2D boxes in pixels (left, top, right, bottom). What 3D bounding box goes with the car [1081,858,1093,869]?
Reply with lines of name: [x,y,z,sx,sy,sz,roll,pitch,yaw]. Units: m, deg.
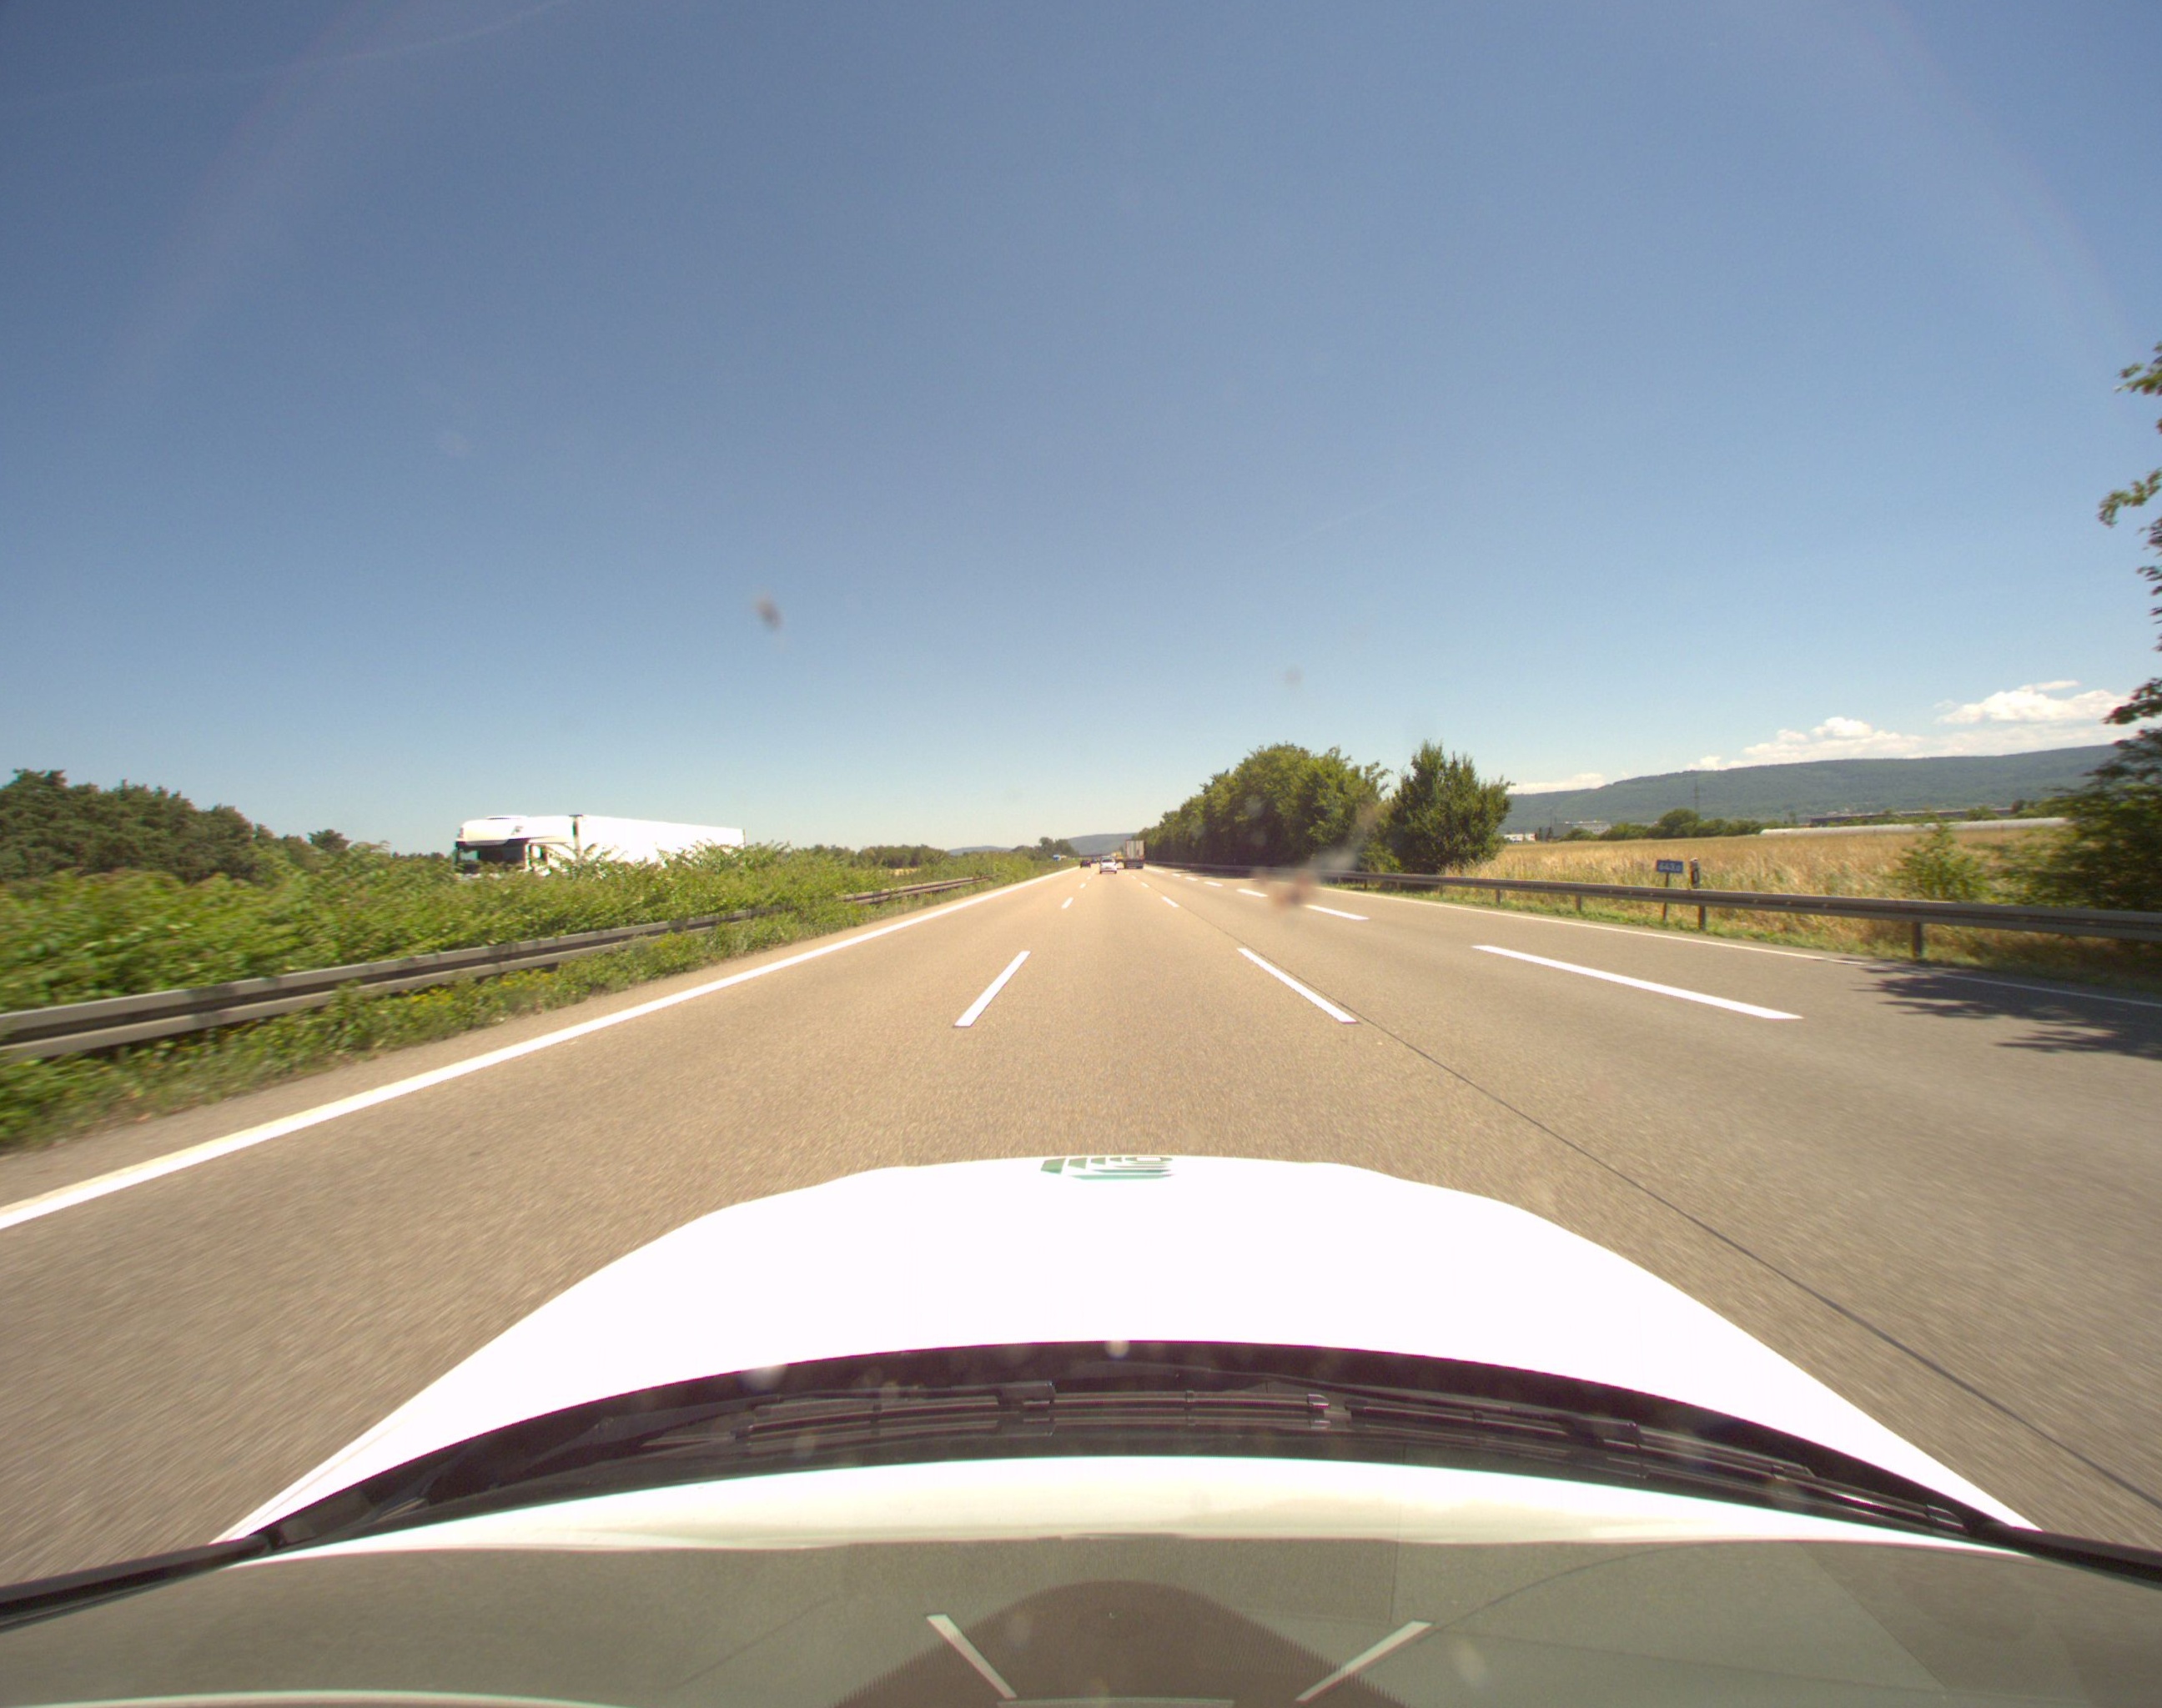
car: [1.017,1.580,137.134,1.987,1.712,4.000,0,0,1]

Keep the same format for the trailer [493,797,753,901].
trailer: [-19.268,-0.128,36.311,3.168,3.699,14.385,0,0,1]

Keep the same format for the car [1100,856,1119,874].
car: [2.773,1.035,80.525,1.726,1.684,4.000,-2,0,1]

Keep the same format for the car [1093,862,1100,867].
car: [4.558,3.150,238.546,1.789,1.551,4.001,-1,-1,1]

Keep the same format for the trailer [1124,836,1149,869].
trailer: [7.864,-0.162,117.571,3.205,4.345,13.636,0,0,2]

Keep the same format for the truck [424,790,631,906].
truck: [-19.447,-0.174,29.163,3.168,3.699,6.037,0,0,1]
